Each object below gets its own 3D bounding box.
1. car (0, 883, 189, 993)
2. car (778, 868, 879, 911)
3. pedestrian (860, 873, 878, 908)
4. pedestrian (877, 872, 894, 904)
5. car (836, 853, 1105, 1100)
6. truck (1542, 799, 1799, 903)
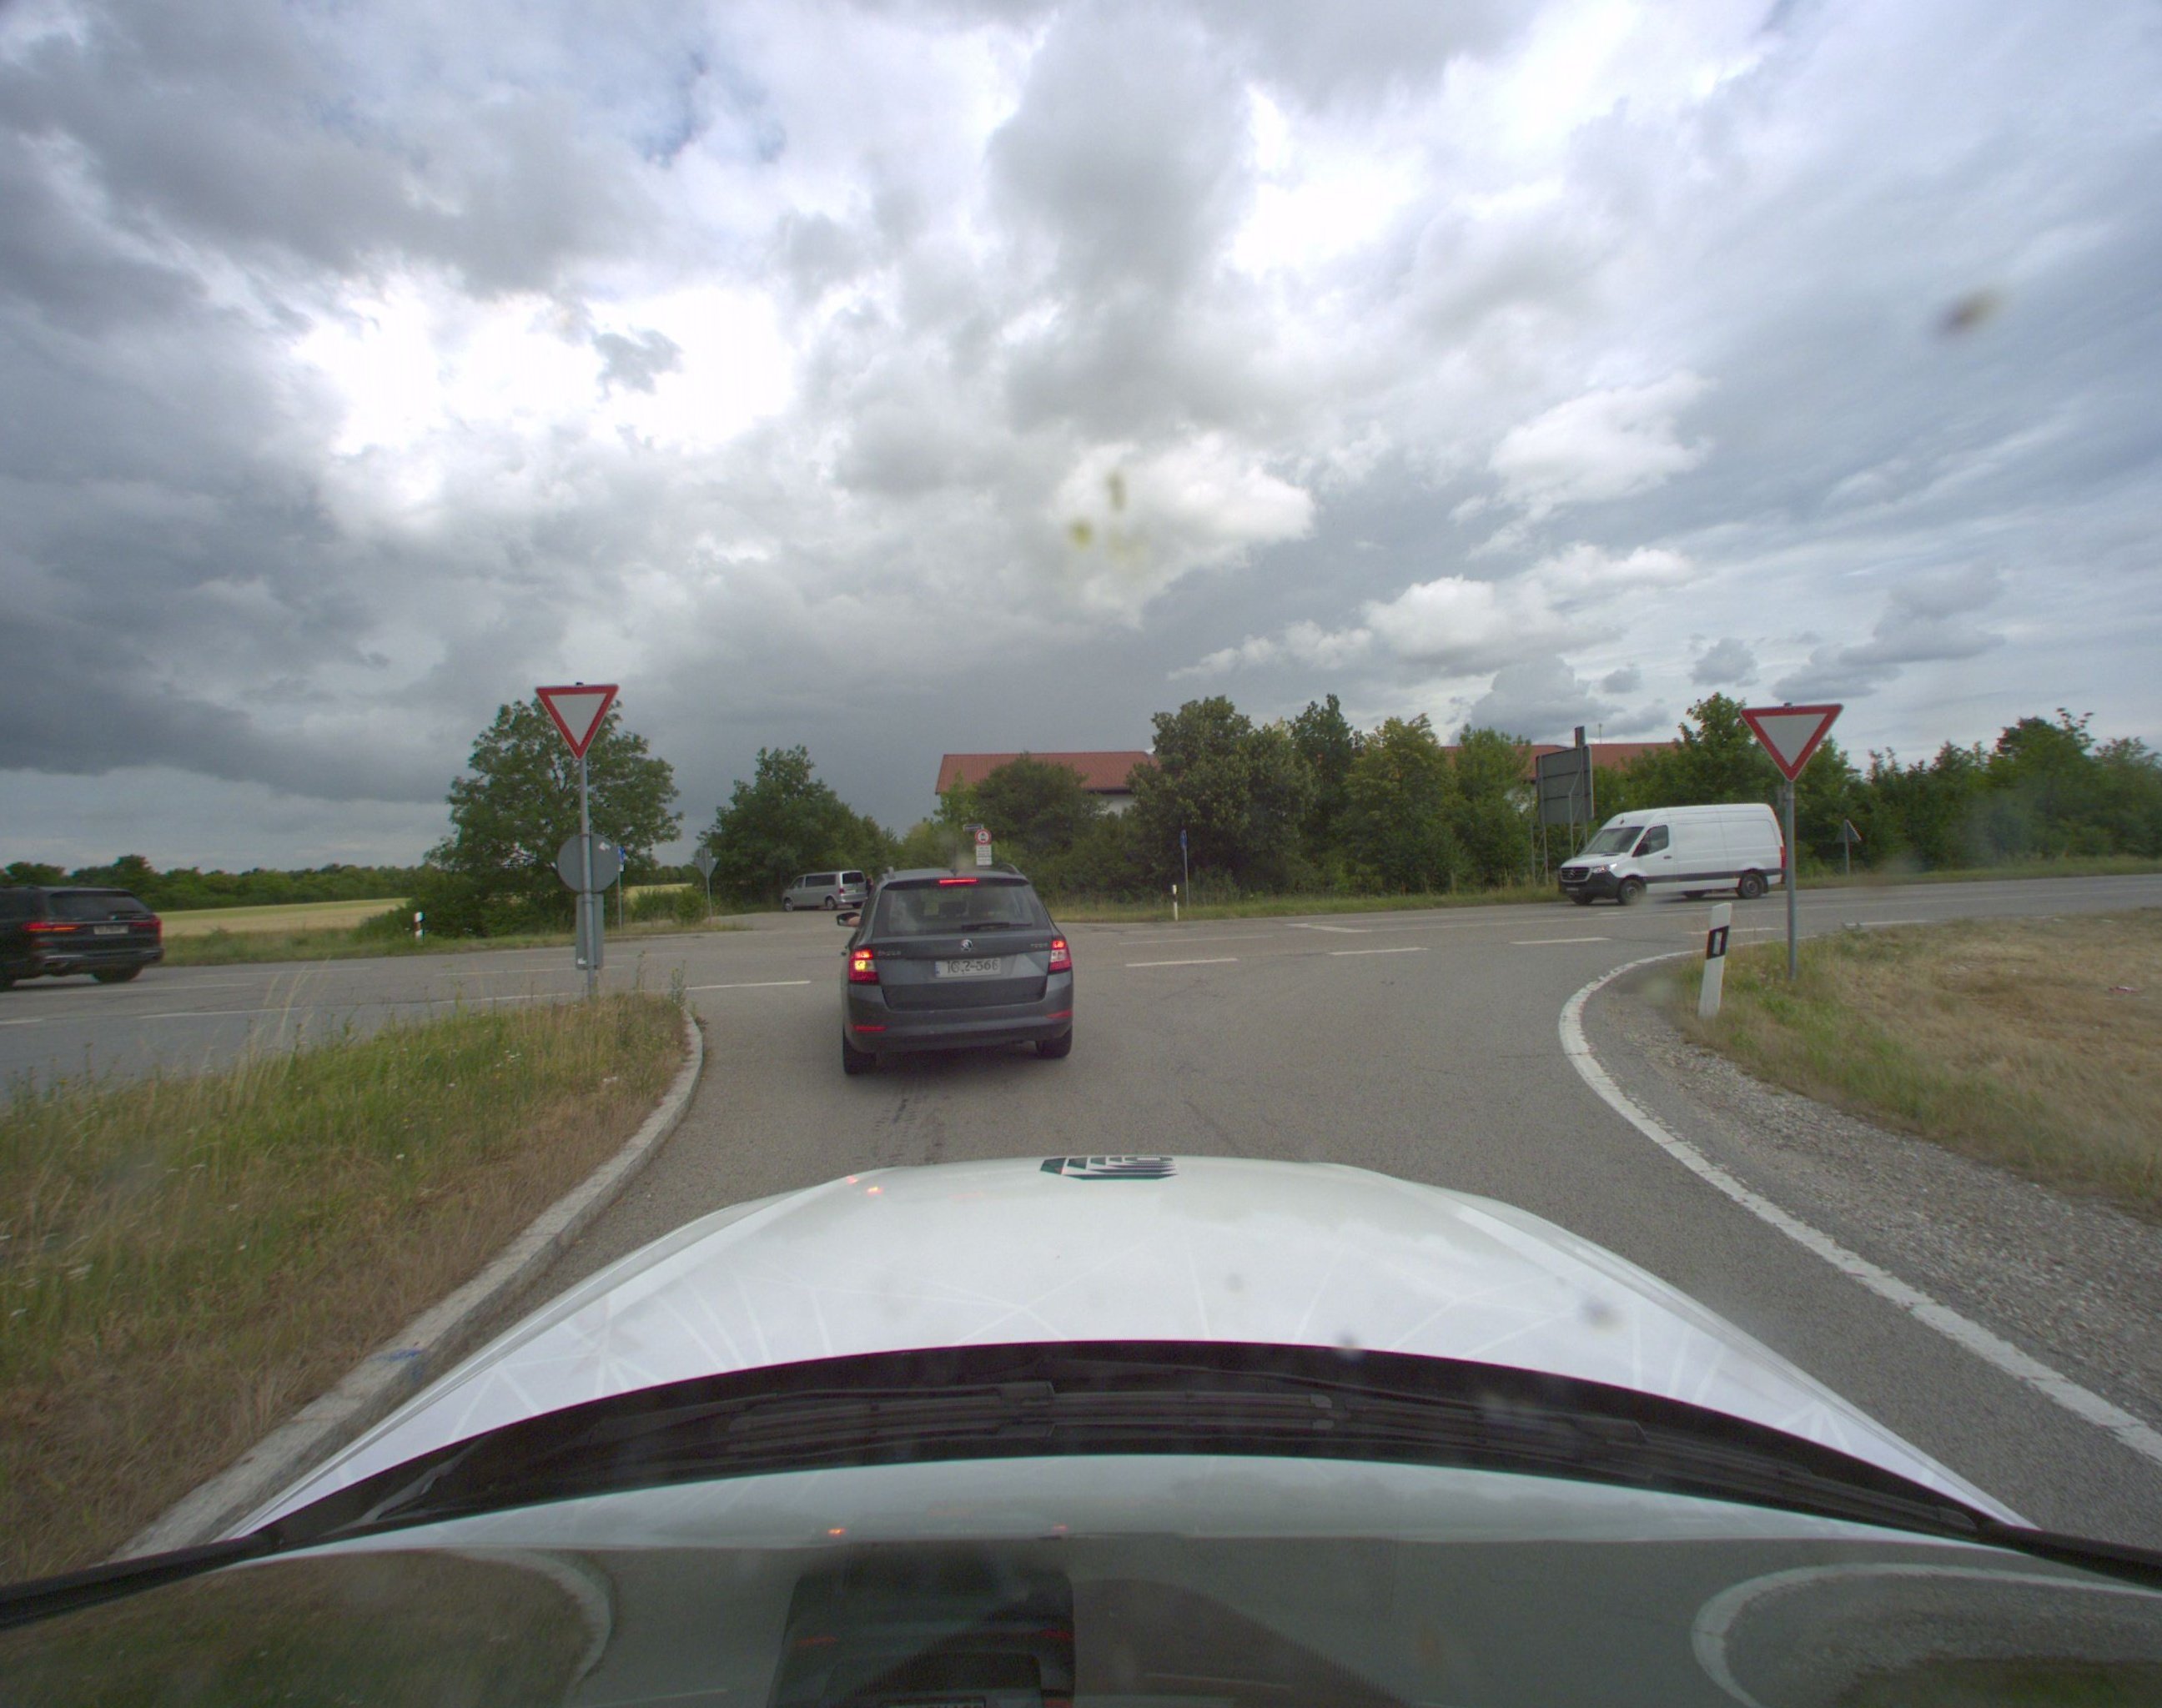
[{"bbox_3d":[-19.378,1.505,14.694,4.606,1.774,2.003,-2,-1,5],"label":"car"},{"bbox_3d":[-13.267,1.876,42.674,4.851,2.013,2.357,-3,0,32],"label":"car"},{"bbox_3d":[-10.981,1.894,42.166,0.523,1.725,0.646,-3,0,31],"label":"pedestrian"},{"bbox_3d":[-10.538,1.811,43.888,0.578,1.682,0.569,-3,0,19],"label":"pedestrian"},{"bbox_3d":[-1.135,0.801,6.982,1.679,1.463,3.688,-1,-1,-15],"label":"car"},{"bbox_3d":[16.289,-0.077,22.640,5.992,2.576,1.994,-2,-2,-8],"label":"truck"}]
